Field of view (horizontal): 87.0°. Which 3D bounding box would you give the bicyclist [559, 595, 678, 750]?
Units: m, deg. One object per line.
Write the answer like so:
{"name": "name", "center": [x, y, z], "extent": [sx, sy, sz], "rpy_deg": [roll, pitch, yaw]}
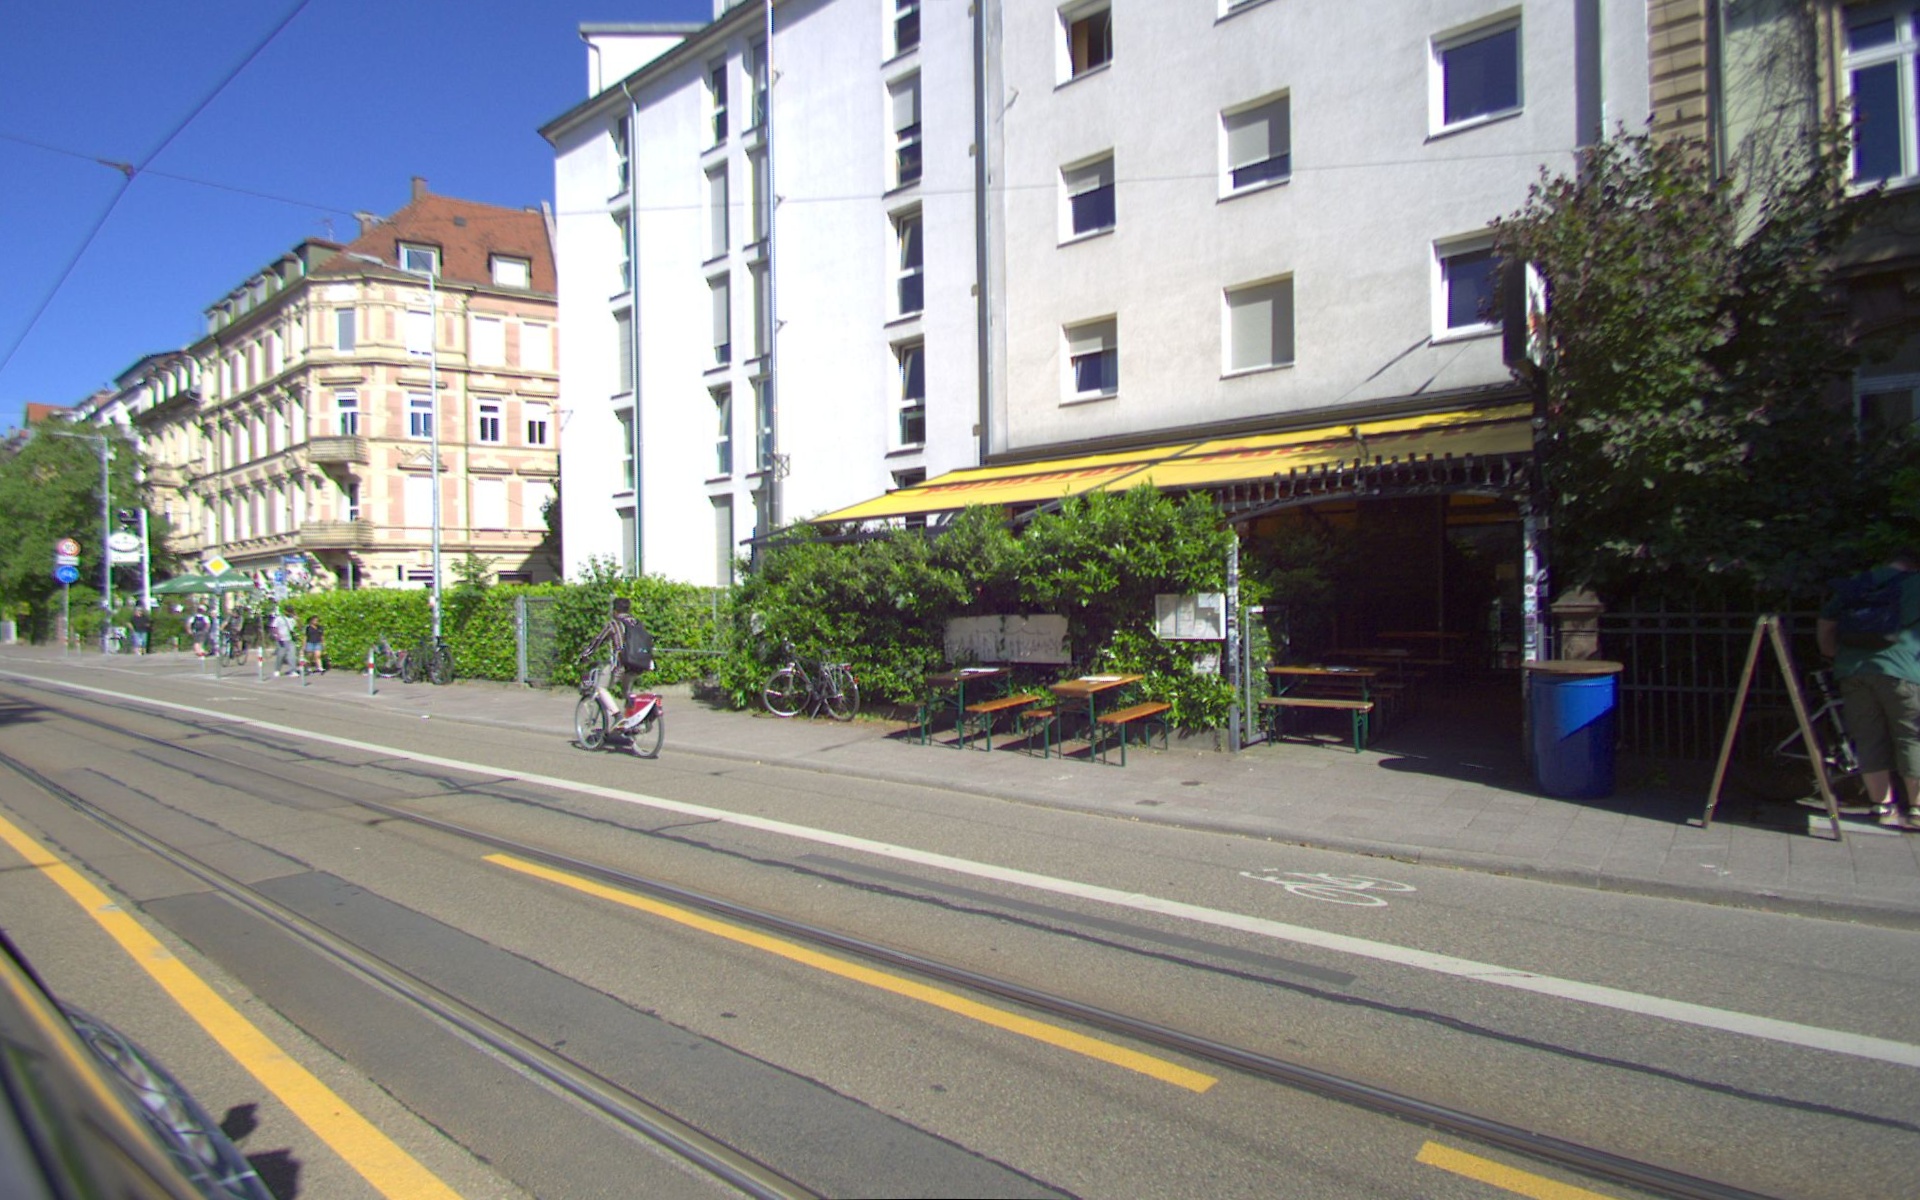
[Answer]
{"name": "bicyclist", "center": [-3.789, 0.783, 11.213], "extent": [1.117, 1.612, 0.737], "rpy_deg": [-2, -4, 41]}

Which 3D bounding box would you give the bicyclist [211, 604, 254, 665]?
{"name": "bicyclist", "center": [-22.775, 1.077, 31.687], "extent": [0.696, 1.868, 0.987], "rpy_deg": [0, 0, -7]}

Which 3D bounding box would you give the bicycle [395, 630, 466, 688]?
{"name": "bicycle", "center": [-11.135, 1.215, 21.256], "extent": [1.839, 1.097, 0.655], "rpy_deg": [0, 2, 41]}

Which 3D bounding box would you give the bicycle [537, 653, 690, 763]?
{"name": "bicycle", "center": [-3.882, 1.156, 11.265], "extent": [1.898, 1.090, 0.737], "rpy_deg": [-1, -4, 41]}

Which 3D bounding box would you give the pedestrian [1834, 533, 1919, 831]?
{"name": "pedestrian", "center": [6.148, 0.508, 6.456], "extent": [0.567, 1.845, 0.691], "rpy_deg": [0, -1, -31]}

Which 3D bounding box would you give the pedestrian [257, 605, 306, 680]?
{"name": "pedestrian", "center": [-16.290, 1.005, 24.289], "extent": [0.808, 1.727, 0.747], "rpy_deg": [-2, 0, 40]}

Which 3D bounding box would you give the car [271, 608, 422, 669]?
{"name": "car", "center": [-19.356, 1.164, 32.124], "extent": [3.984, 1.820, 1.797], "rpy_deg": [0, 0, -29]}

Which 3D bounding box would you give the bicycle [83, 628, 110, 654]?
{"name": "bicycle", "center": [-35.574, 1.688, 41.680], "extent": [2.221, 1.046, 0.508], "rpy_deg": [-2, -1, 40]}

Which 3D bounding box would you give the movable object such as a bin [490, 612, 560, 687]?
{"name": "movable object such as a bin", "center": [-8.797, 0.990, 20.475], "extent": [1.256, 1.468, 0.799], "rpy_deg": [-2, -2, 38]}

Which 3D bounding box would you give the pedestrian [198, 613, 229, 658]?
{"name": "pedestrian", "center": [-28.278, 1.330, 38.340], "extent": [0.694, 1.667, 0.835], "rpy_deg": [0, 0, -19]}

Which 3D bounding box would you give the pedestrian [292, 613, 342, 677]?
{"name": "pedestrian", "center": [-15.771, 1.096, 24.832], "extent": [0.956, 1.489, 0.747], "rpy_deg": [-2, 0, 40]}

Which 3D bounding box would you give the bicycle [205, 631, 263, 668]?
{"name": "bicycle", "center": [-22.796, 1.534, 31.812], "extent": [0.696, 1.063, 1.838], "rpy_deg": [0, 0, -7]}

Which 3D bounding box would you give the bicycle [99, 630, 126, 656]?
{"name": "bicycle", "center": [-32.784, 1.657, 39.148], "extent": [1.776, 0.988, 0.522], "rpy_deg": [-2, -1, 40]}

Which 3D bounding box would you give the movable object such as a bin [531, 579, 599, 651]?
{"name": "movable object such as a bin", "center": [-8.264, 0.322, 21.168], "extent": [1.256, 1.468, 0.799], "rpy_deg": [-2, -2, 38]}

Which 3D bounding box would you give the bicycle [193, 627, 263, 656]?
{"name": "bicycle", "center": [-29.261, 1.652, 40.492], "extent": [2.212, 1.052, 0.877], "rpy_deg": [0, 0, -41]}

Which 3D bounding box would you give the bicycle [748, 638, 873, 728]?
{"name": "bicycle", "center": [-2.004, 1.066, 13.429], "extent": [1.742, 1.067, 0.632], "rpy_deg": [-2, 1, 41]}

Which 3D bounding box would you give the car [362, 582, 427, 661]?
{"name": "car", "center": [-21.915, 0.781, 39.133], "extent": [1.861, 2.862, 4.797], "rpy_deg": [0, 0, -33]}

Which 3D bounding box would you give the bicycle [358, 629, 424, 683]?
{"name": "bicycle", "center": [-12.674, 1.224, 22.532], "extent": [1.839, 1.097, 0.655], "rpy_deg": [0, 2, 41]}

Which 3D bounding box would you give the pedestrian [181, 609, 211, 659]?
{"name": "pedestrian", "center": [-27.600, 1.226, 36.568], "extent": [0.682, 1.781, 0.869], "rpy_deg": [0, -1, -23]}

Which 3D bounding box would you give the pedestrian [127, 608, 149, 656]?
{"name": "pedestrian", "center": [-31.281, 1.202, 38.509], "extent": [0.538, 1.795, 0.552], "rpy_deg": [-1, -1, 36]}

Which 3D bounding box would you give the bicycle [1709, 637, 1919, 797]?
{"name": "bicycle", "center": [6.688, 0.818, 7.245], "extent": [0.628, 1.053, 2.027], "rpy_deg": [0, -1, -34]}
